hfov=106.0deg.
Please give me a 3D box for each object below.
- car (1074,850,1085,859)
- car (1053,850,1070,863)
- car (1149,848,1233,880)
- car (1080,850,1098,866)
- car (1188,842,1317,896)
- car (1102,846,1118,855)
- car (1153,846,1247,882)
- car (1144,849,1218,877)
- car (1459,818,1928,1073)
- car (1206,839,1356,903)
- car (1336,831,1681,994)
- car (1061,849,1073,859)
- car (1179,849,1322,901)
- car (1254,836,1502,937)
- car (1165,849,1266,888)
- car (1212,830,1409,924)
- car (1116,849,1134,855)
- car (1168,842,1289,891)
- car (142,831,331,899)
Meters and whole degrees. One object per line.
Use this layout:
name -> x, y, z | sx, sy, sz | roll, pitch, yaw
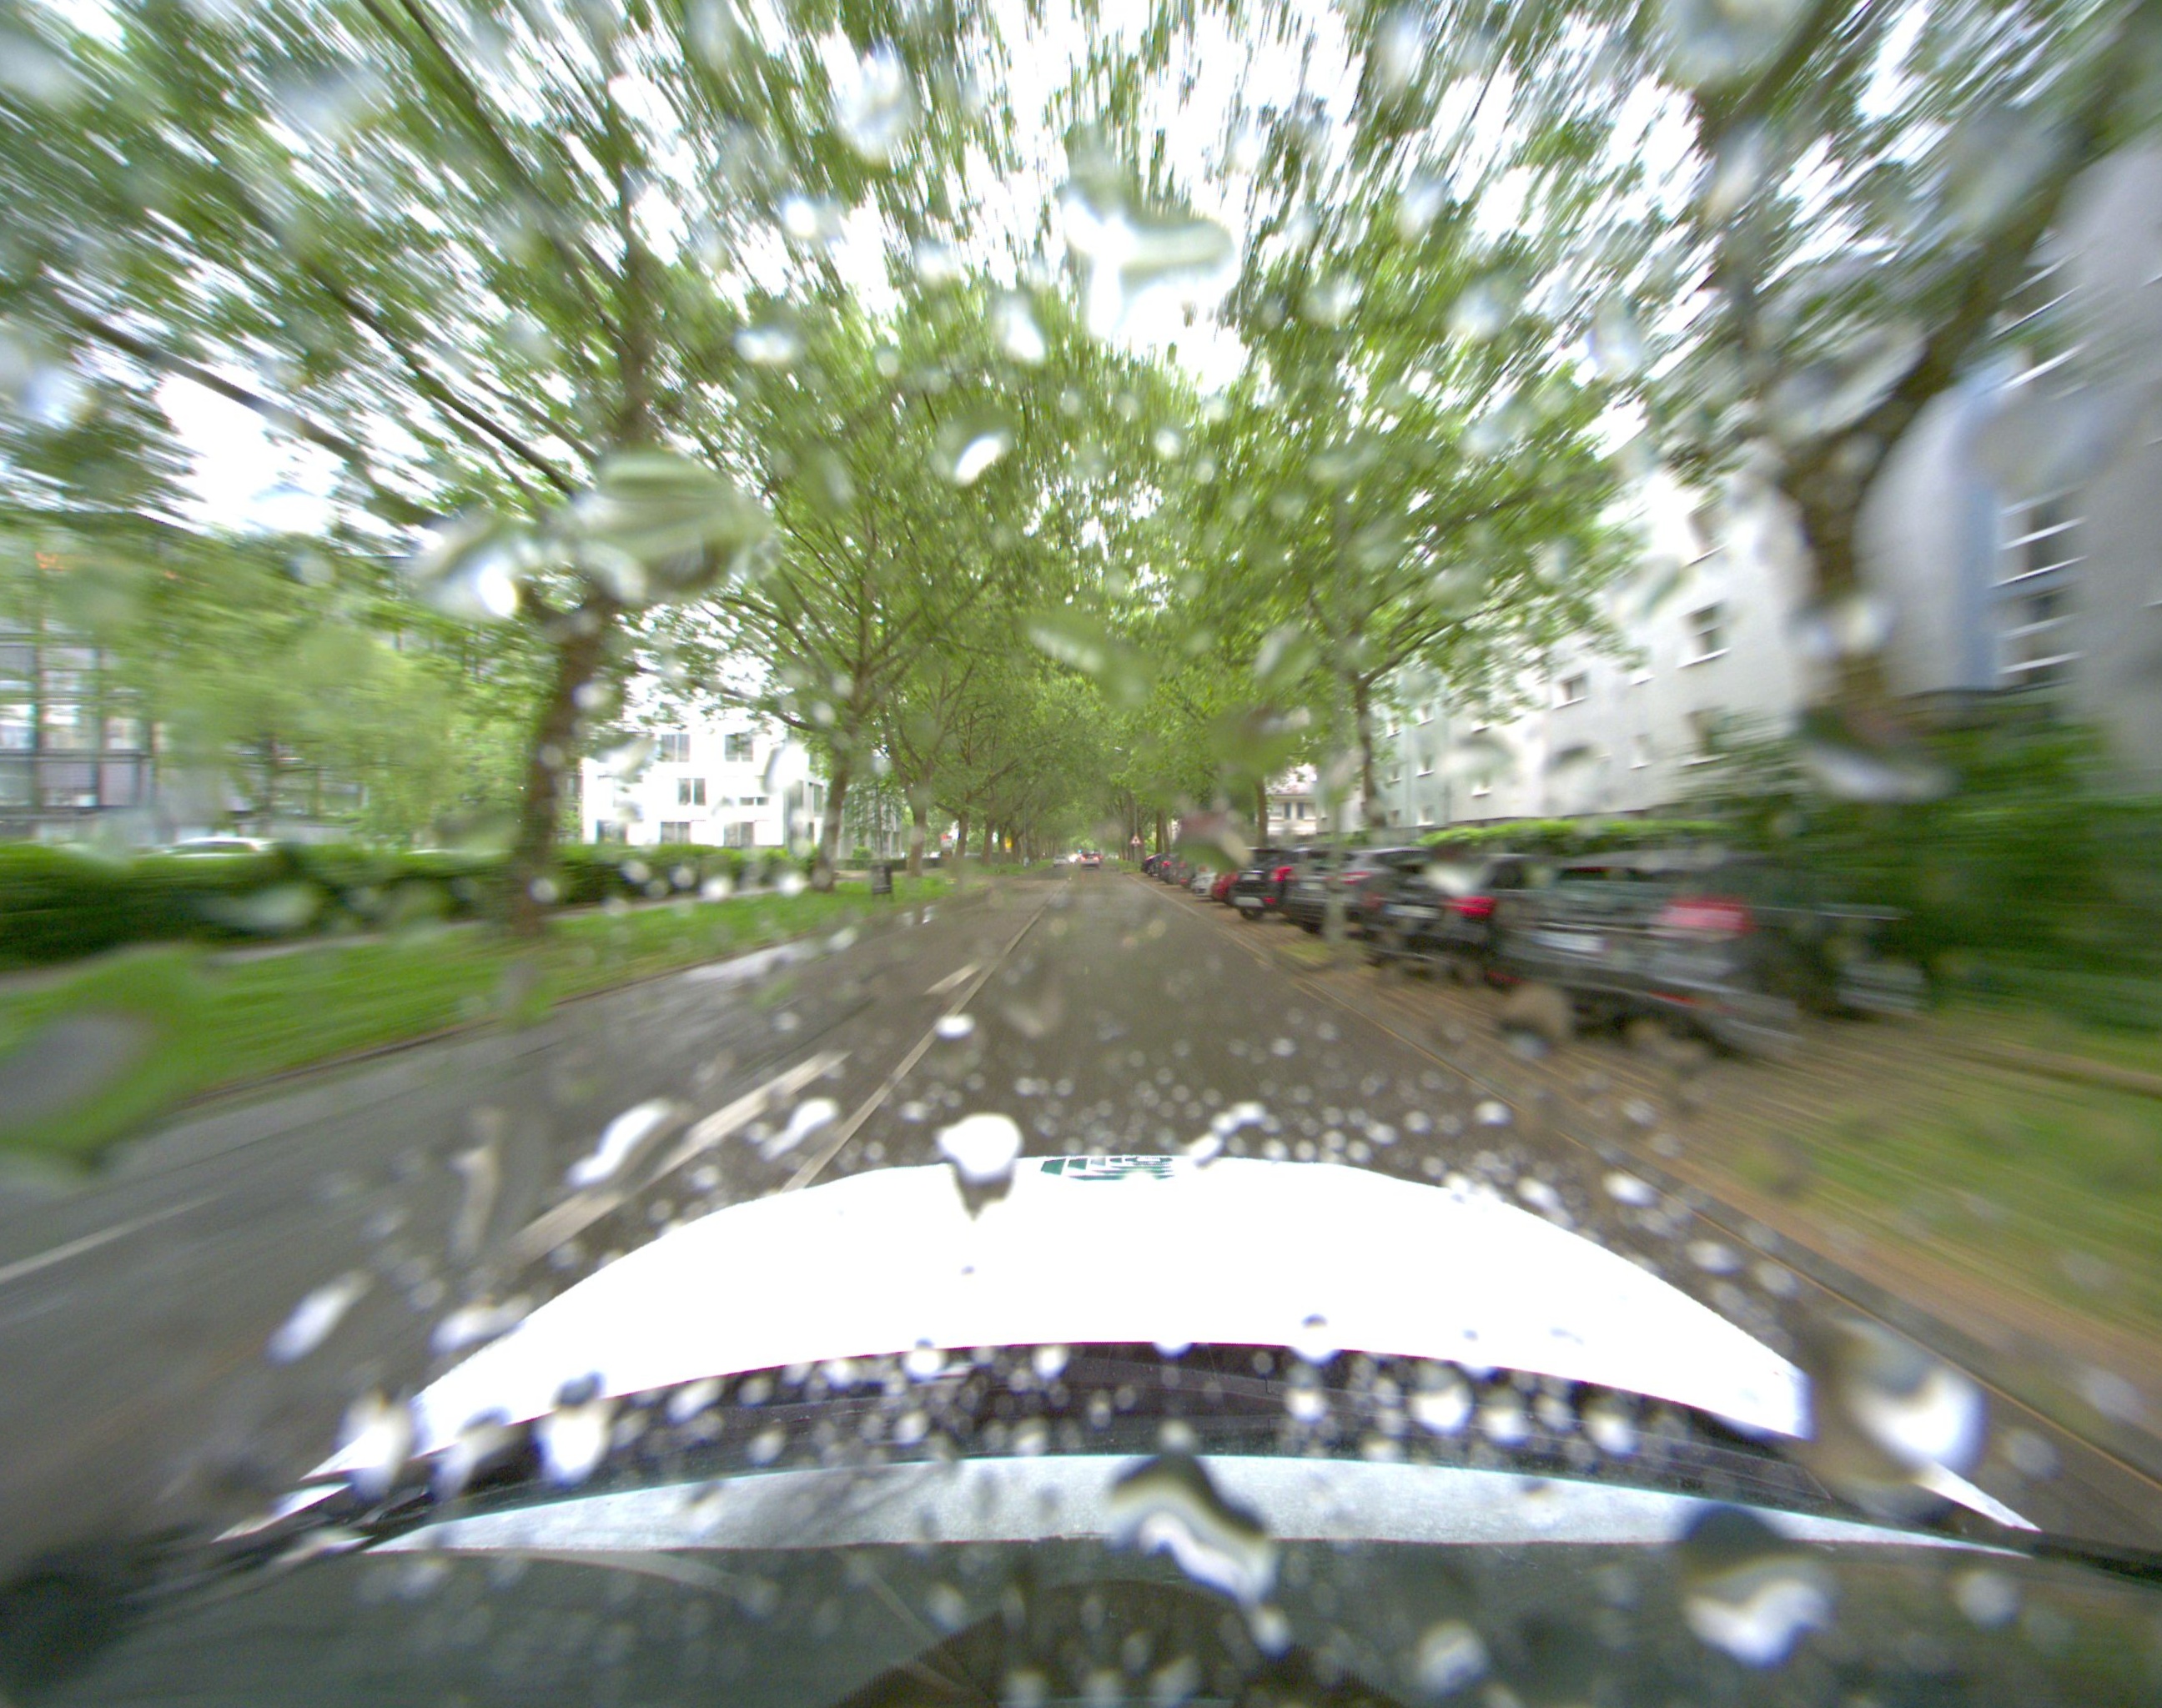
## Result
car -> -0.181, 0.039, 136.833 | 1.700, 1.411, 3.645 | -2, 1, 1
car -> -2.226, 0.322, 94.179 | 1.672, 1.388, 4.550 | -1, 1, 1
car -> 5.814, 0.507, 43.346 | 4.197, 1.655, 1.913 | 0, 1, -1
car -> 0.778, 0.351, 78.949 | 1.700, 1.411, 3.645 | -2, 1, 1
car -> 5.718, 0.481, 27.491 | 3.972, 1.727, 1.801 | 1, 0, 1
car -> 6.872, -0.810, 194.449 | 3.537, 1.841, 1.711 | -2, 0, -2
car -> 5.514, 0.434, 38.021 | 4.025, 1.441, 1.684 | -3, 1, -3
car -> 5.745, 0.507, 46.945 | 4.031, 1.530, 1.779 | 0, 1, -2
car -> 5.167, 0.565, 6.814 | 3.779, 1.601, 1.786 | 0, 1, -30
car -> 5.362, 0.444, 22.204 | 3.687, 1.536, 1.740 | -2, 0, 3
car -> 5.170, 0.564, 9.763 | 4.011, 1.601, 1.786 | 0, 1, -30
car -> -2.364, -0.025, 134.926 | 1.803, 1.684, 4.448 | -2, 1, 0
car -> 5.127, 0.620, 24.990 | 3.975, 1.513, 1.800 | 1, 1, -2
car -> 5.348, 0.507, 14.662 | 4.008, 1.601, 2.018 | 0, 1, -27
car -> 5.558, 0.575, 33.909 | 3.973, 1.537, 1.631 | 1, 0, 0
car -> 4.951, 0.406, 17.524 | 3.877, 1.697, 1.821 | -3, 2, -27
car -> 8.919, -0.421, 166.529 | 3.538, 1.155, 1.710 | -2, 1, -3
car -> 5.569, 0.445, 31.154 | 4.323, 1.762, 1.819 | 1, 0, 0
car -> -26.959, 0.335, 26.104 | 3.971, 2.013, 2.001 | -1, 0, 2
